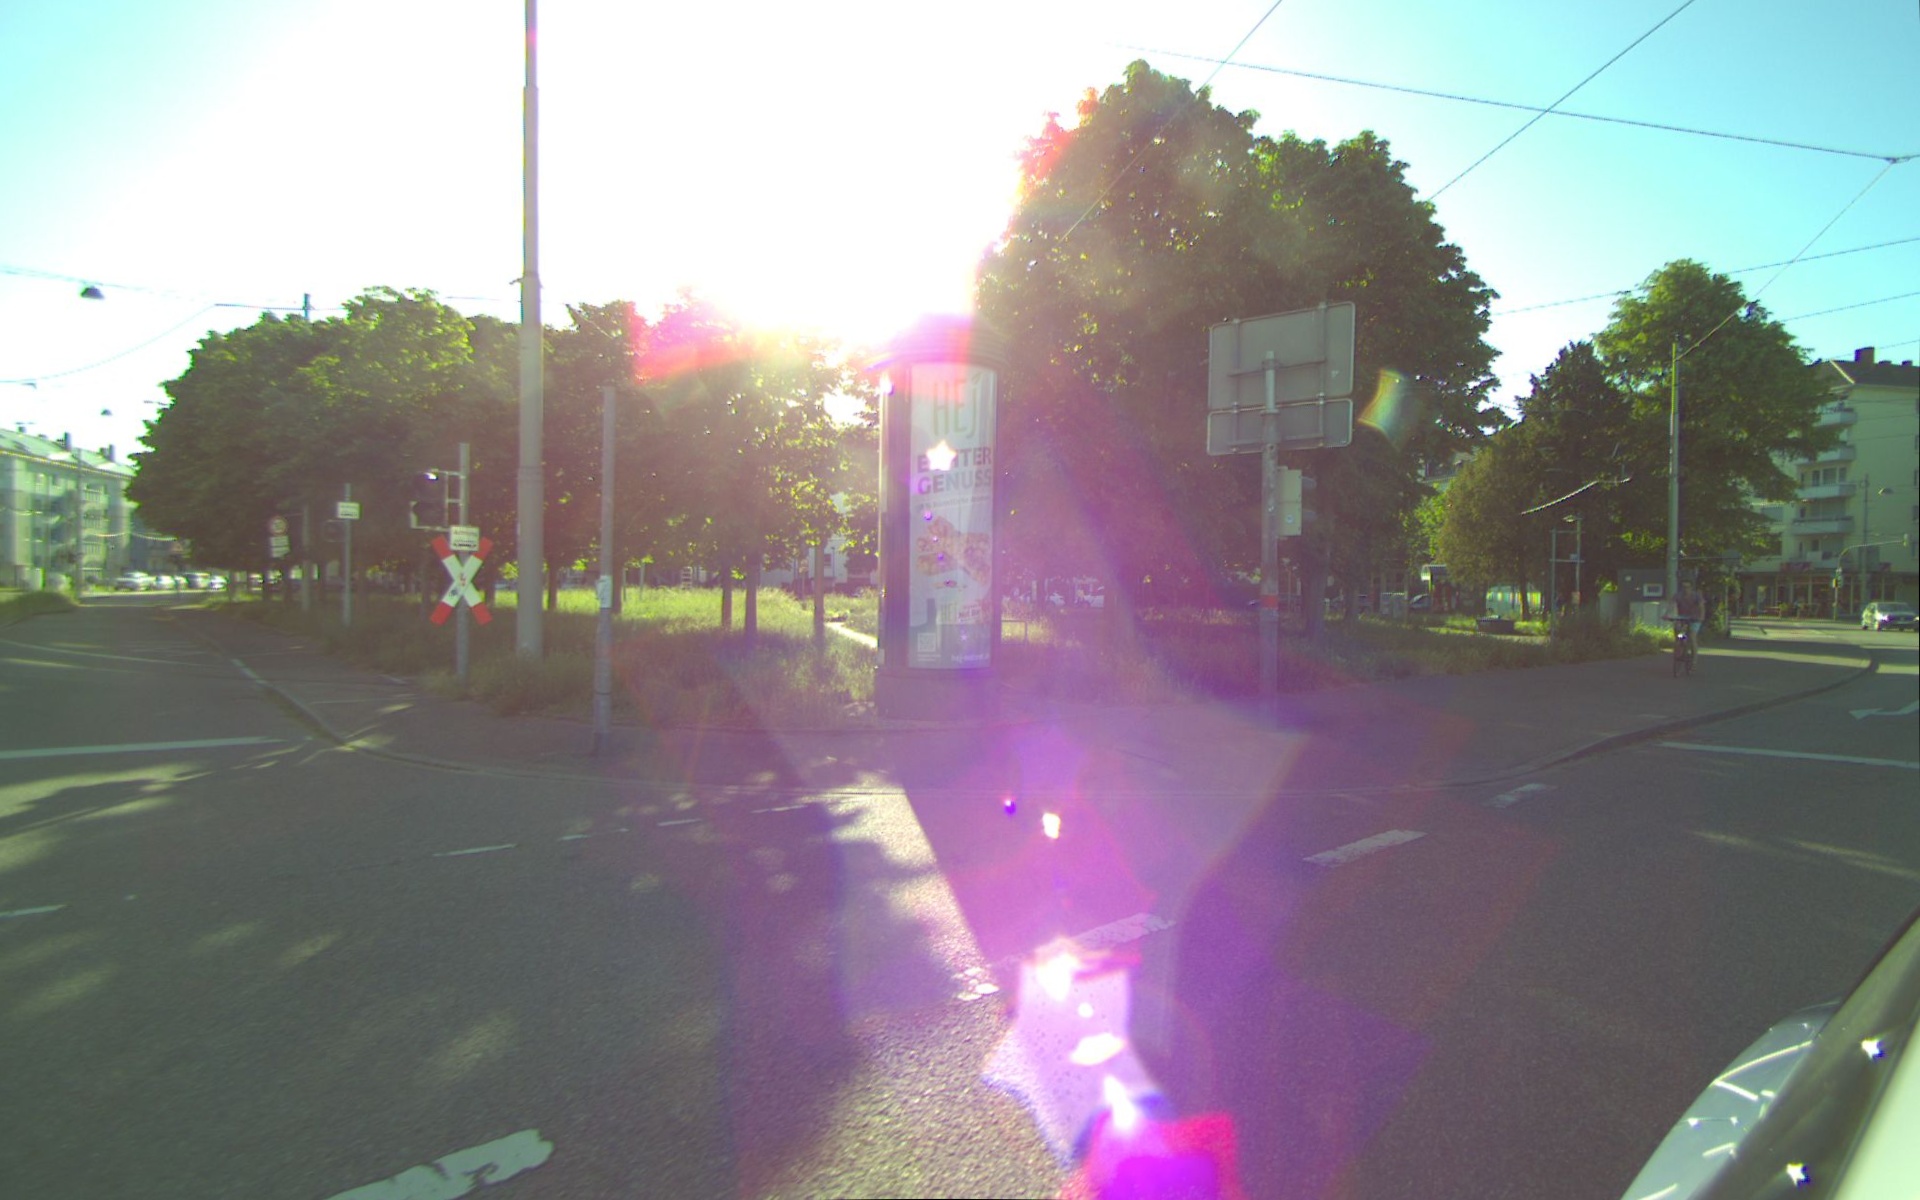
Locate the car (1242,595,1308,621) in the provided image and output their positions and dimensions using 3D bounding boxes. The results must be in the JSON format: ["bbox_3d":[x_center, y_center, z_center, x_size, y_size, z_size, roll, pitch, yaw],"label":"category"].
[{"bbox_3d":[22.751,0.580,73.141,4.111,1.738,1.998,-2,0,4],"label":"car"}]

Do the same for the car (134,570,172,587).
[{"bbox_3d":[-85.935,-2.317,107.816,1.958,1.660,4.008,-2,0,-20],"label":"car"}]

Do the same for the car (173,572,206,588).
[{"bbox_3d":[-89.242,-2.303,117.216,1.958,1.660,4.008,-2,0,-20],"label":"car"}]

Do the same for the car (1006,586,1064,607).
[{"bbox_3d":[5.619,-0.255,75.754,4.300,1.446,1.689,-2,0,5],"label":"car"}]

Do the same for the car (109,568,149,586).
[{"bbox_3d":[-84.057,-2.324,102.421,1.958,1.660,4.008,-2,0,-20],"label":"car"}]

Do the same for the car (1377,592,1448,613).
[{"bbox_3d":[31.902,0.147,71.426,4.111,1.365,1.998,-2,0,4],"label":"car"}]

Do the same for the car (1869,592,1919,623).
[{"bbox_3d":[46.568,0.388,49.878,1.686,1.459,3.611,0,-1,27],"label":"car"}]

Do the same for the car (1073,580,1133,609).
[{"bbox_3d":[10.558,-0.428,74.979,4.256,1.989,1.907,-2,0,5],"label":"car"}]

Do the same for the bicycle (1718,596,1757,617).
[{"bbox_3d":[43.185,0.377,56.238,1.769,1.141,0.629,1,-1,-7],"label":"bicycle"}]

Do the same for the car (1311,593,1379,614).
[{"bbox_3d":[27.449,0.269,72.278,4.111,1.362,1.998,-2,0,4],"label":"car"}]

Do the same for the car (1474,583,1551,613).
[{"bbox_3d":[38.440,-0.149,70.435,4.173,1.881,1.998,-2,0,4],"label":"car"}]

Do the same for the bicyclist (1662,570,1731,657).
[{"bbox_3d":[14.339,0.245,19.708,1.129,1.619,0.813,0,1,-41],"label":"bicyclist"}]

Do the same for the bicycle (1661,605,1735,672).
[{"bbox_3d":[14.344,0.721,19.645,1.966,1.207,0.720,0,1,-41],"label":"bicycle"}]

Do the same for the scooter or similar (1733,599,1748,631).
[{"bbox_3d":[31.785,0.609,41.223,0.383,1.233,1.808,3,1,37],"label":"scooter or similar"}]
